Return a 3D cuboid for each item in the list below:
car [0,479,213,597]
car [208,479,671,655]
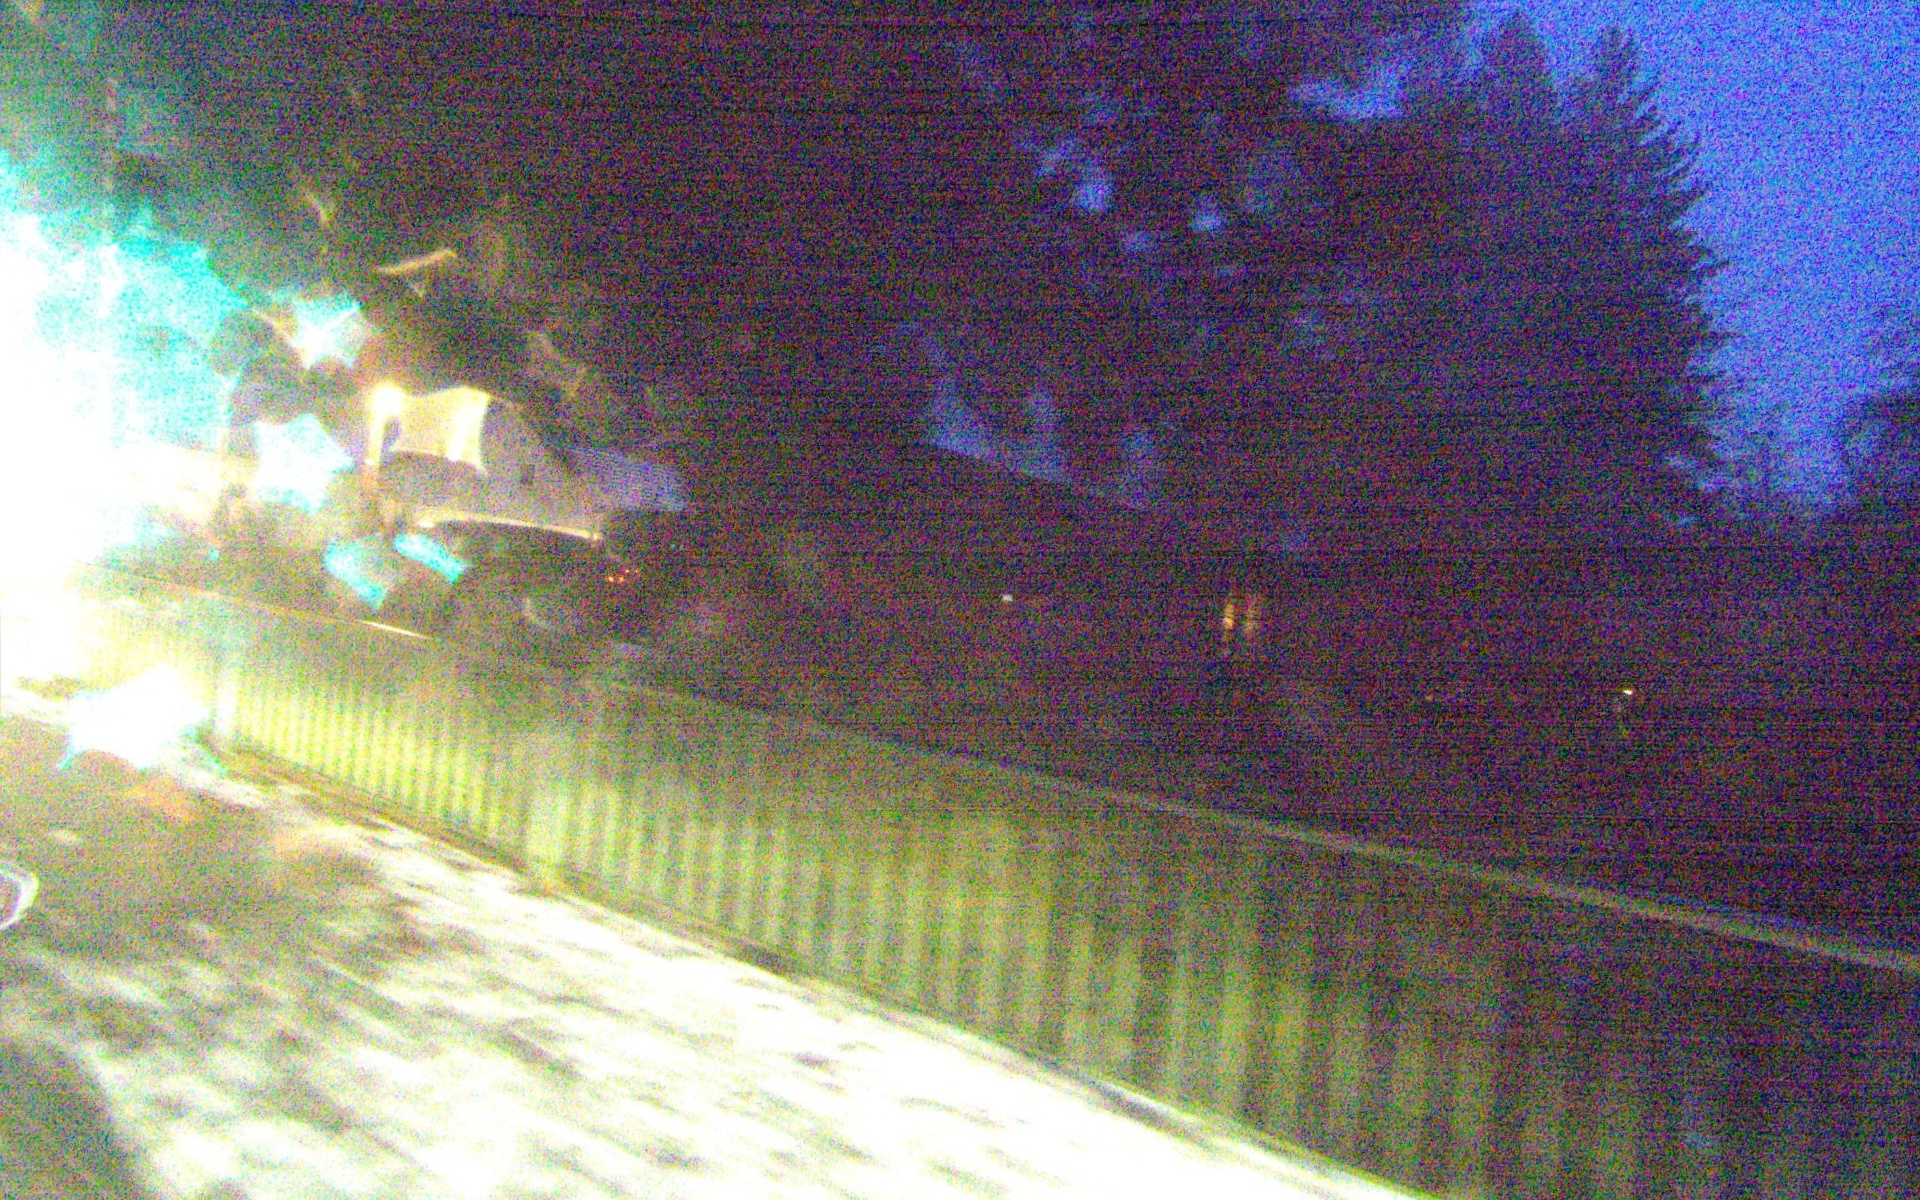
[{"bbox_3d":[-19.952,-1.385,23.049,1.743,1.967,4.264,10,-3,10],"label":"car"},{"bbox_3d":[-5.987,-0.299,12.001,1.912,1.607,4.457,8,3,42],"label":"car"}]
